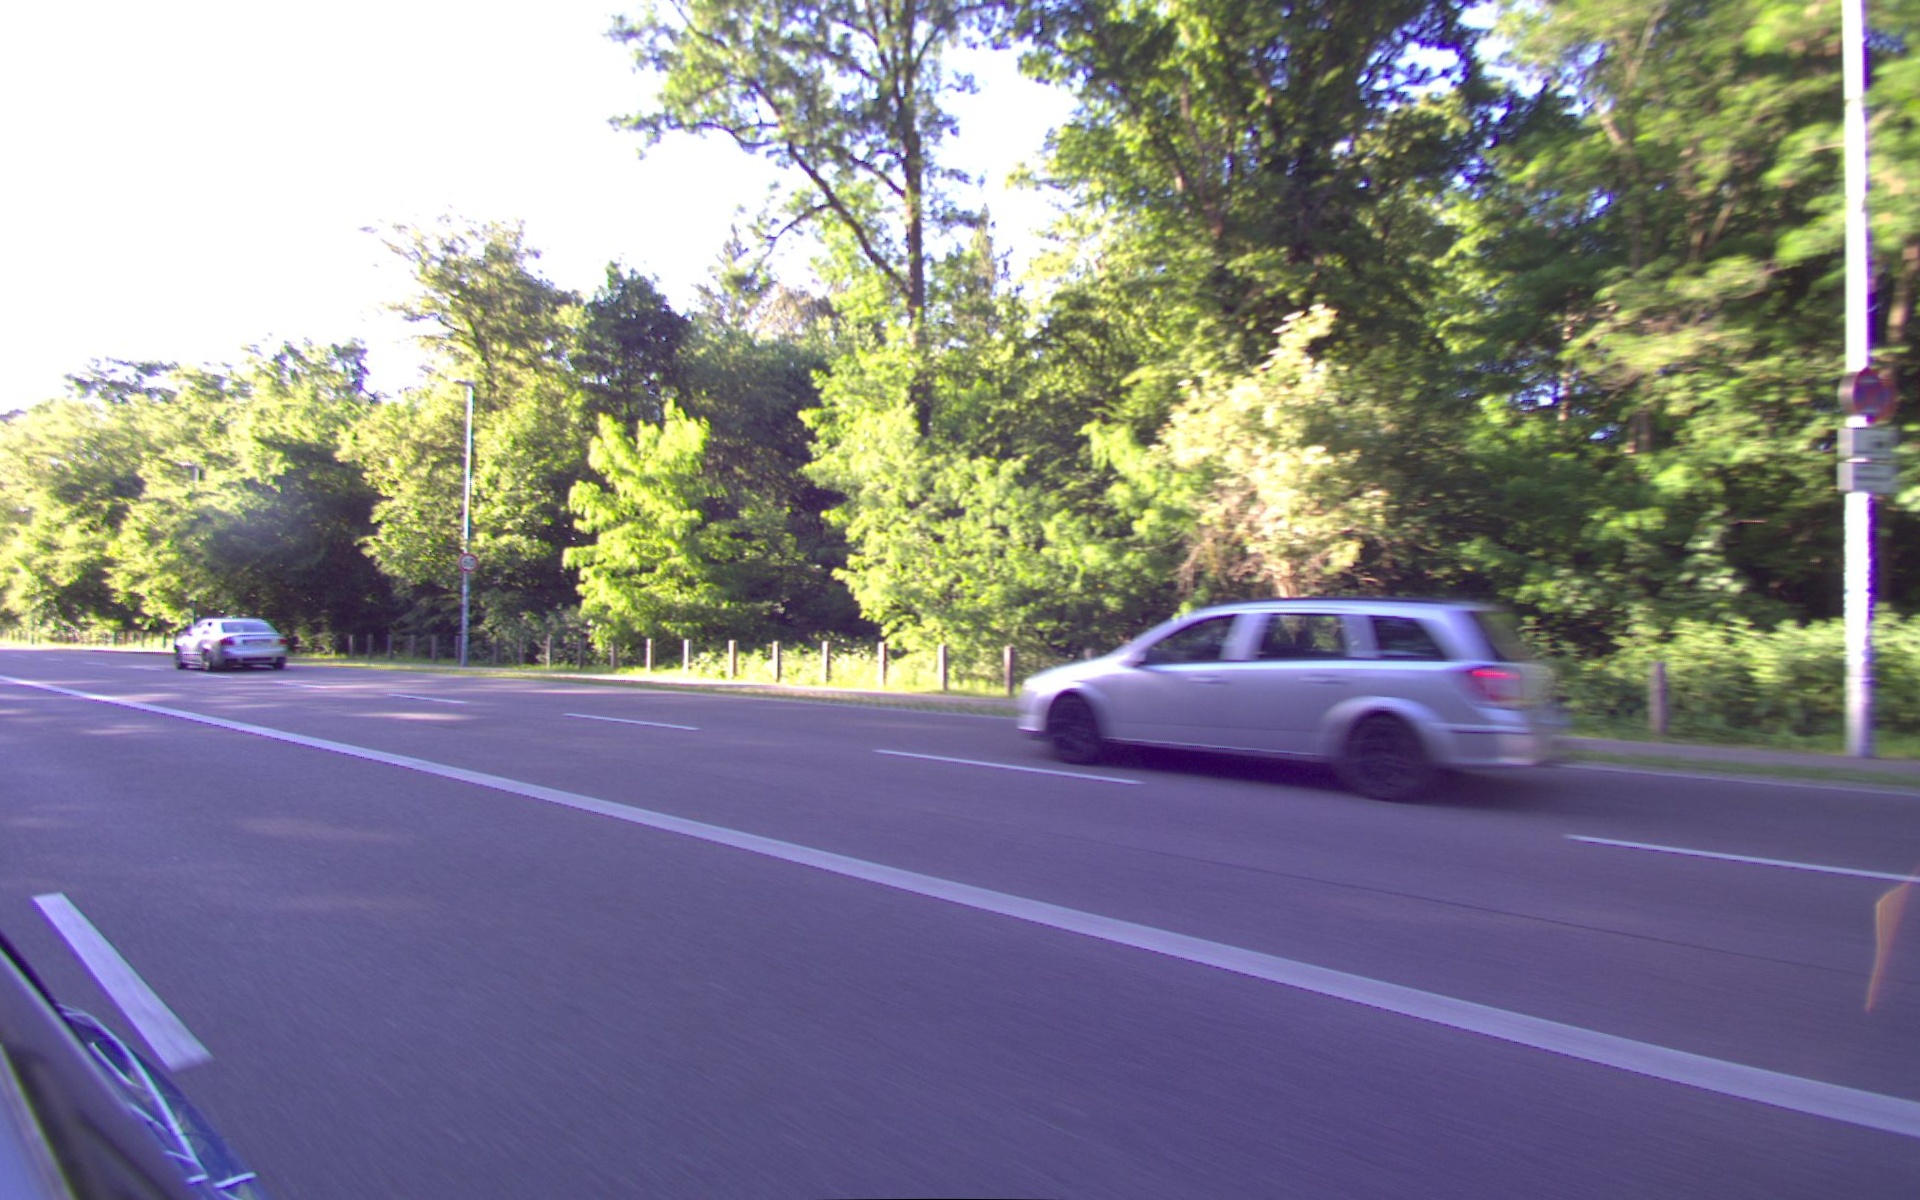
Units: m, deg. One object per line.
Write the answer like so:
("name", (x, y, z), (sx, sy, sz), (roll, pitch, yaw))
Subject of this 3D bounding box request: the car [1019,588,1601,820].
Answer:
("car", (2.733, 0.683, 8.494), (4.271, 1.475, 1.762), (-1, 0, 40))

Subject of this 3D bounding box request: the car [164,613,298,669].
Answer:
("car", (-19.666, 1.105, 27.243), (4.157, 1.419, 1.763), (-2, -2, 36))
